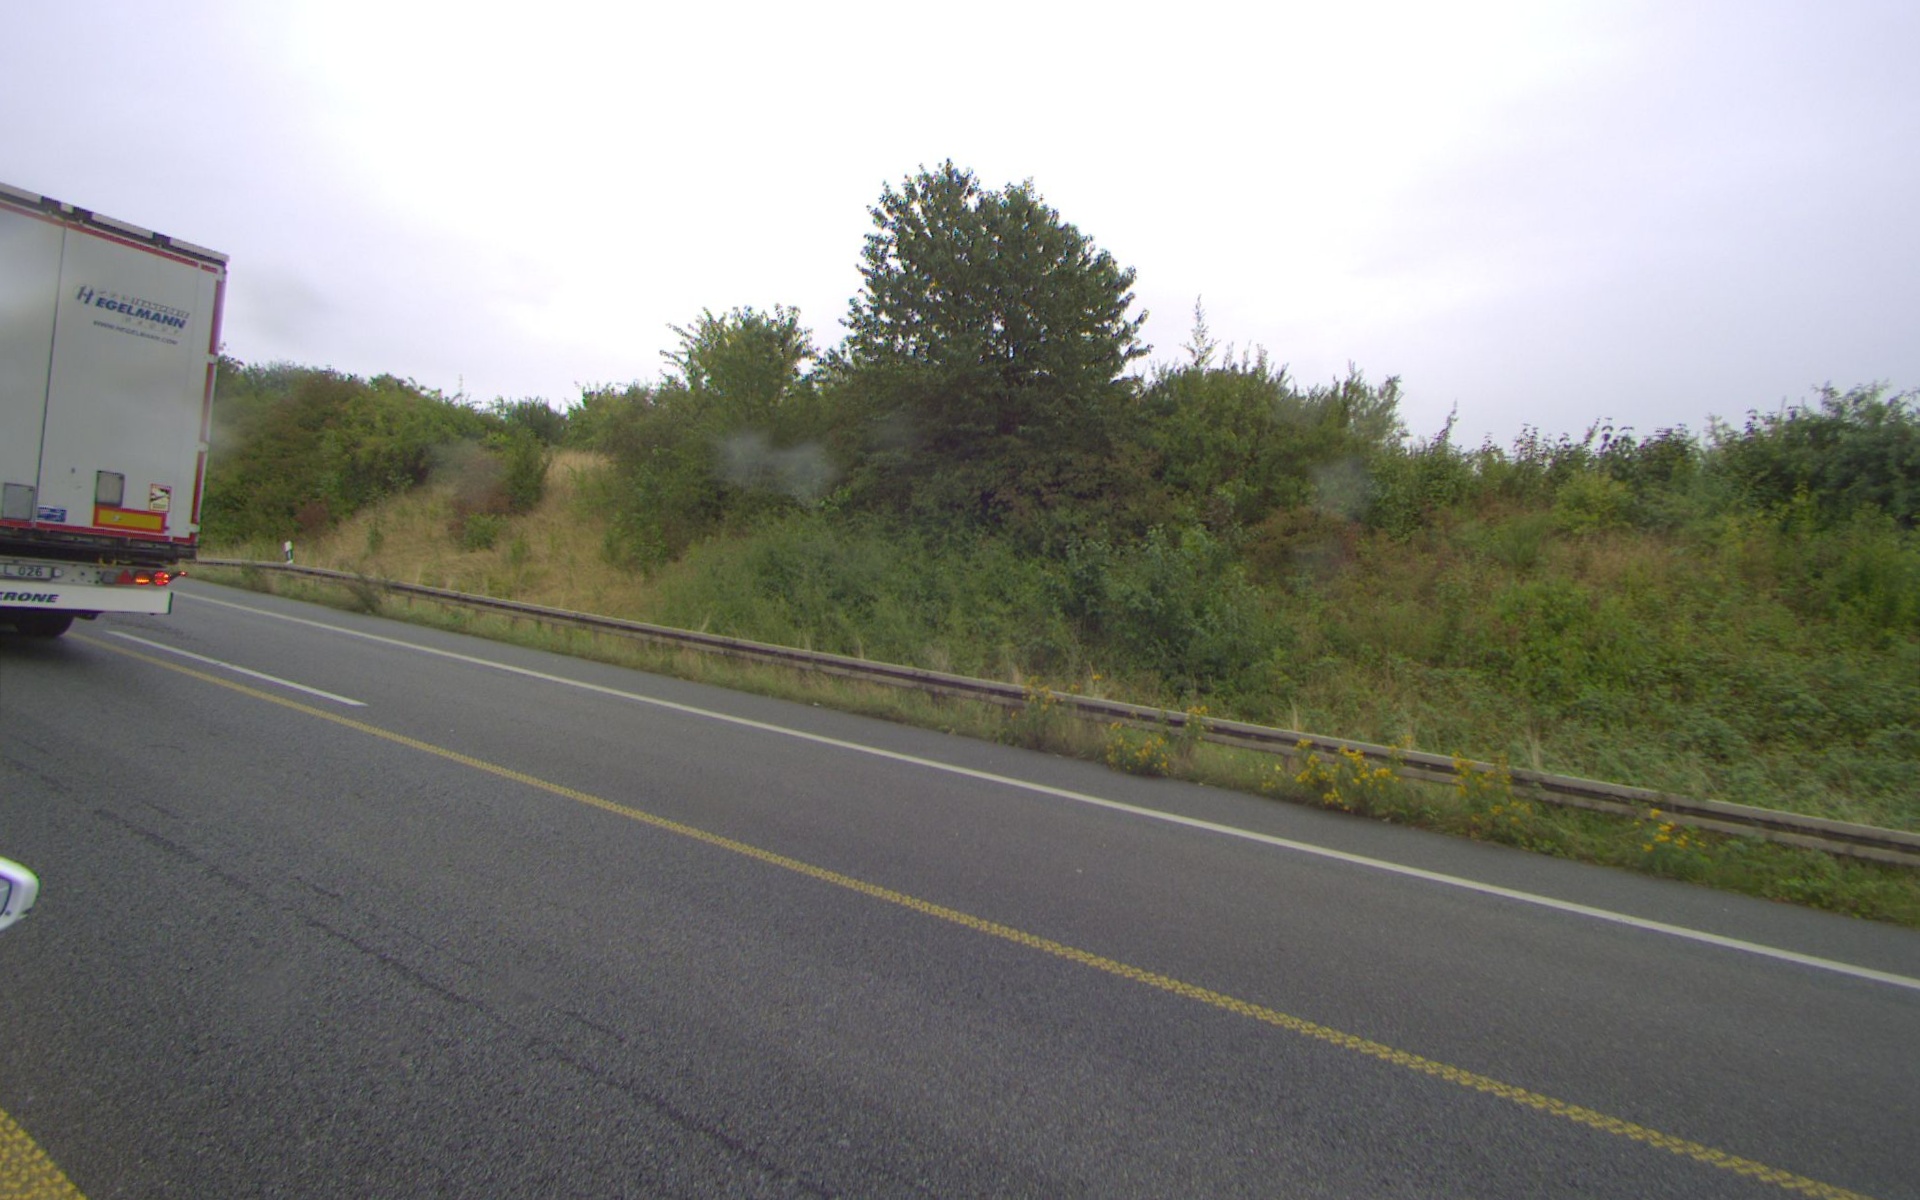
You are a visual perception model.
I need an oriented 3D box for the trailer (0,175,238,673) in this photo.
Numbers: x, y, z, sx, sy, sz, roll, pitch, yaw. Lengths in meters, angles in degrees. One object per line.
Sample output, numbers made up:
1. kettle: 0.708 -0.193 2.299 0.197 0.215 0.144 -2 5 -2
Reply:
1. trailer: -13.670 -2.117 12.245 13.407 4.125 2.697 7 -1 32
